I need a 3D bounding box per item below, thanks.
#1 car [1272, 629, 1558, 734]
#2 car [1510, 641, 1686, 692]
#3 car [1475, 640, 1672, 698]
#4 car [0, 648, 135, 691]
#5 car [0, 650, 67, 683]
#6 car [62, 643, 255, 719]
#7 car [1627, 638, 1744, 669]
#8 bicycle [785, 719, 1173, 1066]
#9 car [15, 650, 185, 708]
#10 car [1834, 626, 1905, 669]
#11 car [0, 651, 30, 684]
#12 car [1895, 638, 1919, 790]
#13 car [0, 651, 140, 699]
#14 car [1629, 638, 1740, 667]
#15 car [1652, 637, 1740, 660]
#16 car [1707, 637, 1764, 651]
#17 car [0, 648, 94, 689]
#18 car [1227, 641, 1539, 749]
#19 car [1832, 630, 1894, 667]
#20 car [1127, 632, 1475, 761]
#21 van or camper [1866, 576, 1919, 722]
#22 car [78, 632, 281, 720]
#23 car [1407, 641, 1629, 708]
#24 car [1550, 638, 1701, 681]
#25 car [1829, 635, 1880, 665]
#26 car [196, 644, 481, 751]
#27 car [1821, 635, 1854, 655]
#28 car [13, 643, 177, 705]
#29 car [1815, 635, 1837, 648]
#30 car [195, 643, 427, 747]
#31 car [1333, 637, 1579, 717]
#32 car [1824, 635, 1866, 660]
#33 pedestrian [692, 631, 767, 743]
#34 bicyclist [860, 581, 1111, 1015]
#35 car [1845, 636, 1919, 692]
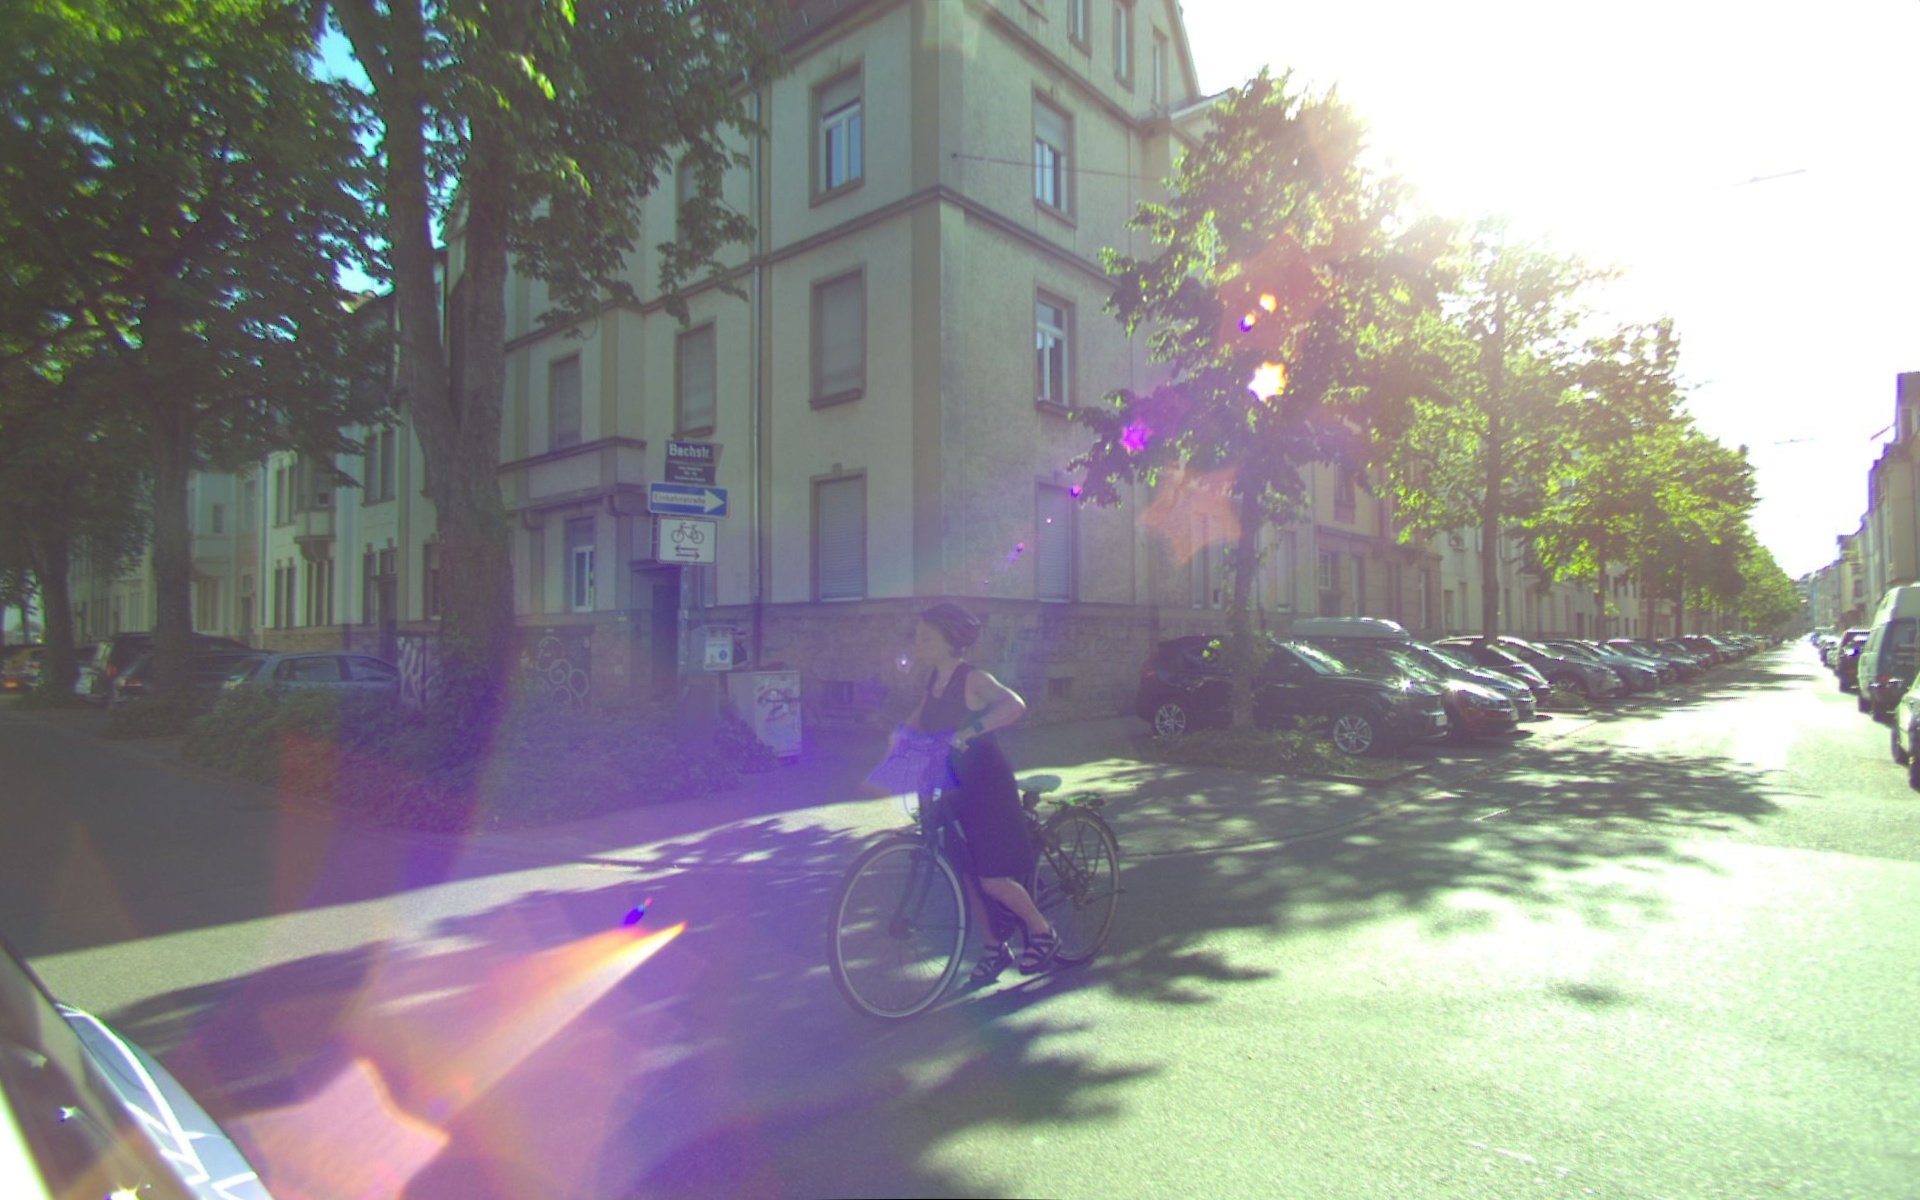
[{"bbox_3d":[8.144,1.374,18.360,4.416,1.667,1.767,-1,-3,41],"label":"car"},{"bbox_3d":[19.862,2.021,31.625,4.416,1.420,1.845,-1,-3,41],"label":"car"},{"bbox_3d":[16.893,1.848,27.995,4.416,1.420,1.845,-1,-3,41],"label":"car"},{"bbox_3d":[-32.171,2.482,36.553,1.541,1.440,3.452,-2,-3,39],"label":"car"},{"bbox_3d":[-43.397,3.044,46.419,1.541,1.440,3.452,-2,-3,39],"label":"car"},{"bbox_3d":[-19.786,1.936,25.072,1.680,1.704,3.452,-2,-3,39],"label":"car"},{"bbox_3d":[35.071,2.574,48.984,4.416,1.420,1.845,-2,-3,41],"label":"car"},{"bbox_3d":[0.182,1.074,4.280,0.594,0.994,1.896,-2,-3,39],"label":"bicycle"},{"bbox_3d":[-24.232,2.175,28.617,1.439,1.504,3.452,-2,-3,39],"label":"car"},{"bbox_3d":[34.488,1.773,38.459,1.909,1.539,3.853,0,-2,40],"label":"car"},{"bbox_3d":[-42.550,2.923,43.624,1.541,1.440,3.452,-2,-3,39],"label":"car"},{"bbox_3d":[11.332,1.166,10.745,1.893,1.475,3.853,0,-2,40],"label":"car"},{"bbox_3d":[-29.345,2.421,33.259,1.541,1.440,3.452,-2,-3,39],"label":"car"},{"bbox_3d":[37.063,2.679,51.831,4.416,1.420,1.845,-2,-3,41],"label":"car"},{"bbox_3d":[47.368,3.117,65.193,4.416,1.420,1.845,-2,-3,41],"label":"car"},{"bbox_3d":[77.721,4.424,101.401,4.416,1.420,1.845,-2,-3,41],"label":"car"},{"bbox_3d":[-34.405,2.510,37.365,1.541,1.440,3.452,-2,-3,39],"label":"car"},{"bbox_3d":[6.705,1.419,16.315,4.279,1.452,1.845,-1,-3,41],"label":"car"},{"bbox_3d":[40.113,2.141,45.014,1.909,1.539,3.853,-2,-3,40],"label":"car"},{"bbox_3d":[4.794,1.261,14.622,4.416,1.566,1.845,-1,-3,41],"label":"car"},{"bbox_3d":[18.419,0.908,19.035,1.909,2.543,4.210,0,-2,40],"label":"van or camper"},{"bbox_3d":[-18.310,1.718,23.847,1.819,1.907,3.452,-2,-3,39],"label":"car"},{"bbox_3d":[13.381,1.731,24.441,4.416,1.420,1.845,-1,-3,41],"label":"car"},{"bbox_3d":[24.370,2.141,37.140,4.416,1.420,1.845,-1,-3,41],"label":"car"},{"bbox_3d":[47.401,2.622,53.684,1.909,1.539,3.853,-2,-3,40],"label":"car"},{"bbox_3d":[-10.674,1.582,17.546,3.939,1.443,1.805,-1,0,-43],"label":"car"},{"bbox_3d":[69.980,3.565,80.763,1.909,1.539,3.853,-2,-3,40],"label":"car"},{"bbox_3d":[-25.510,2.123,29.937,1.459,1.704,3.452,-2,-3,39],"label":"car"},{"bbox_3d":[103.352,4.977,120.843,1.909,1.539,3.853,-2,-3,40],"label":"car"},{"bbox_3d":[-13.539,1.895,21.234,3.934,1.775,2.005,-1,0,-36],"label":"car"},{"bbox_3d":[10.490,1.552,21.601,4.416,1.496,1.845,-1,-3,41],"label":"car"},{"bbox_3d":[56.055,2.989,64.134,1.909,1.539,3.853,-2,-3,40],"label":"car"},{"bbox_3d":[-3.474,1.288,15.247,0.978,1.620,0.659,-2,-3,40],"label":"pedestrian"},{"bbox_3d":[0.107,0.740,4.239,0.755,1.583,0.728,-2,-3,39],"label":"bicyclist"},{"bbox_3d":[27.040,1.820,29.434,1.909,1.475,3.853,0,-2,40],"label":"car"}]
